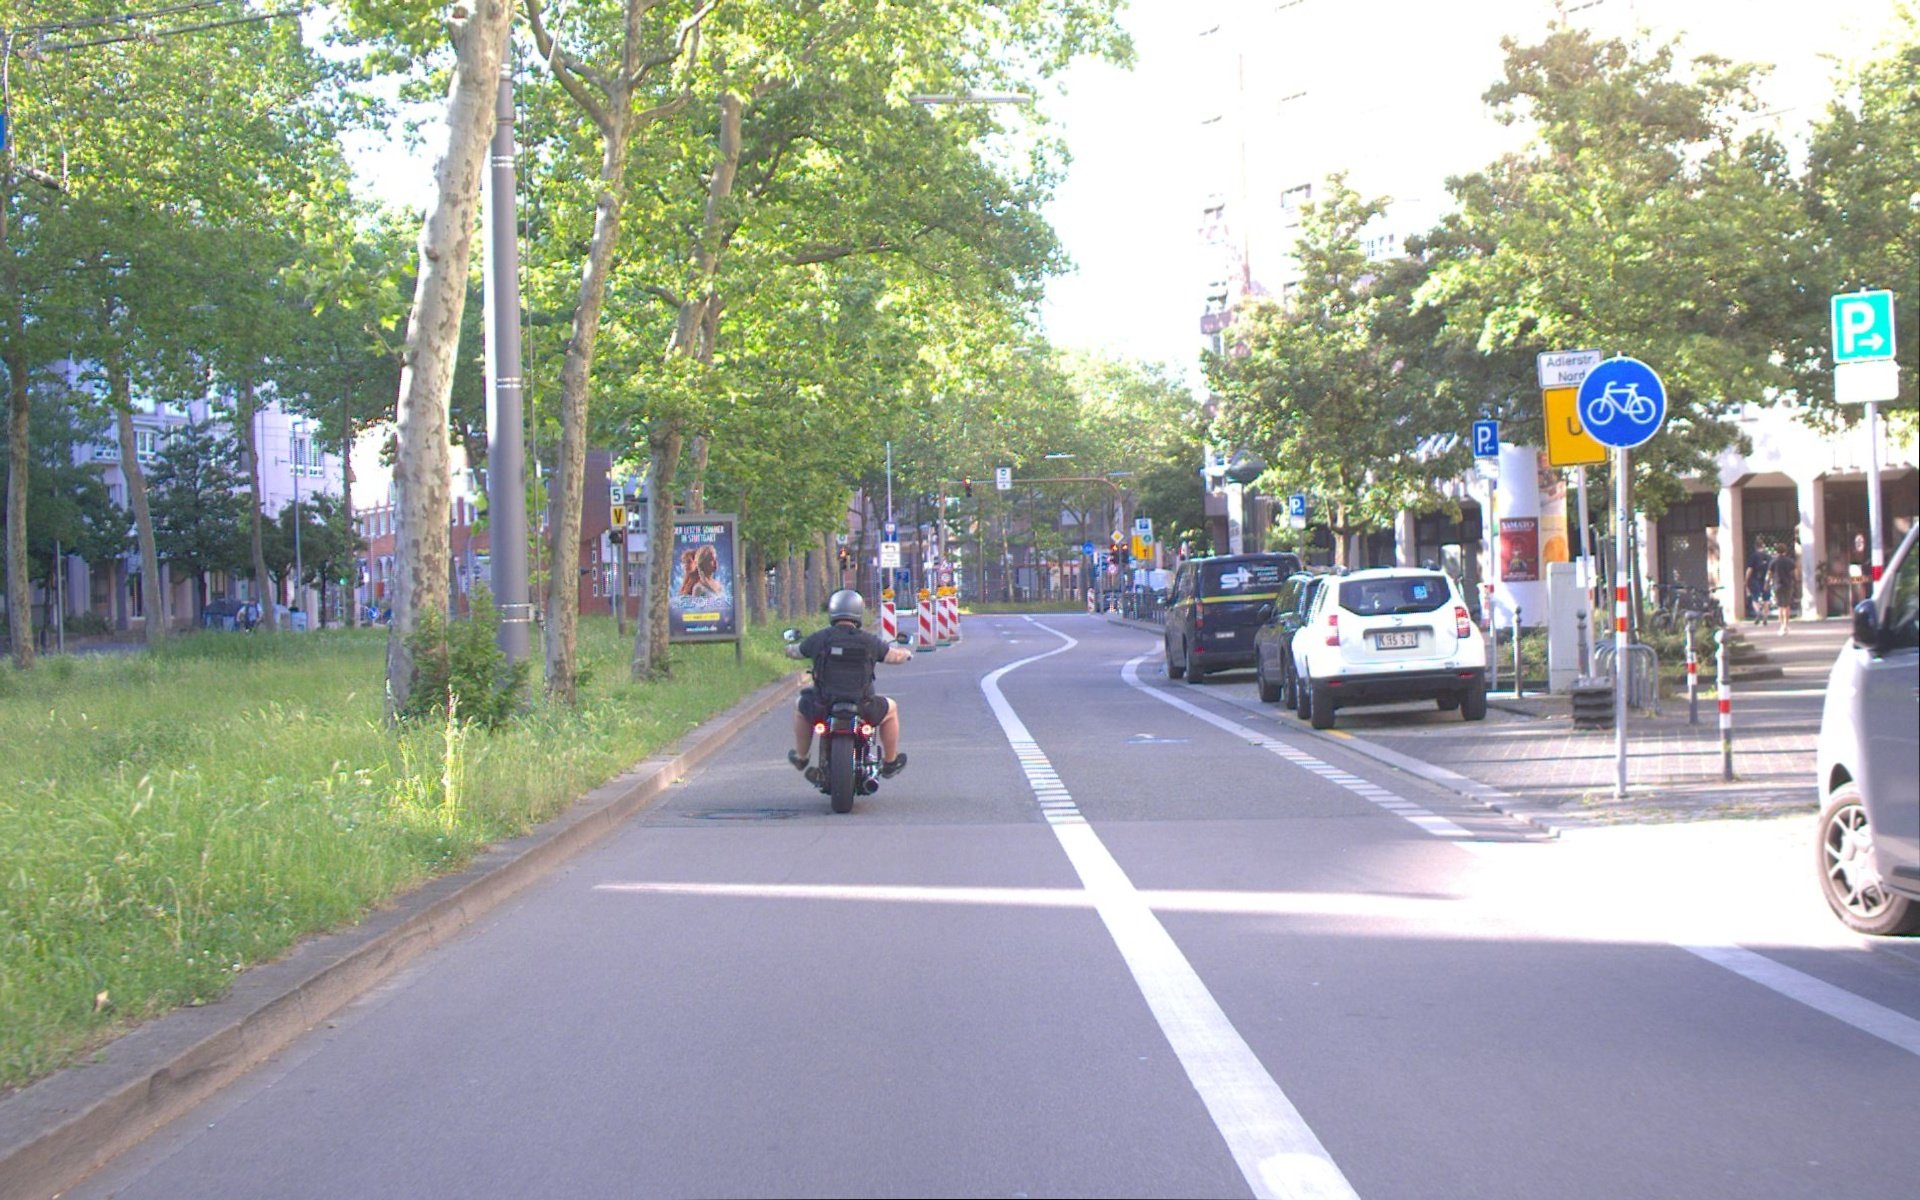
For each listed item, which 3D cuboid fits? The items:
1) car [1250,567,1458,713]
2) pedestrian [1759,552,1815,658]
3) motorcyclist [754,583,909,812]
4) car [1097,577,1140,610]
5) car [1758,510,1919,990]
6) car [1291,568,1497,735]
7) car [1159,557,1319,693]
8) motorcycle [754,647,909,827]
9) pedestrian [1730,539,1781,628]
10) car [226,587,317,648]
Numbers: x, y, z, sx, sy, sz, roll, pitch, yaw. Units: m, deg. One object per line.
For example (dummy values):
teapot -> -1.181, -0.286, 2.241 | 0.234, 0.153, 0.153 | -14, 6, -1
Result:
car -> 4.813, 0.474, 42.516 | 1.987, 1.623, 4.085 | -2, 0, -1
pedestrian -> 15.841, 0.097, 65.895 | 0.866, 2.007, 0.882 | -1, 0, 4
motorcyclist -> -0.908, 0.679, 24.675 | 1.022, 1.547, 1.286 | -2, 1, 0
car -> 8.550, -0.376, 185.213 | 1.994, 1.700, 3.999 | -1, 0, 6
car -> 4.583, 0.517, 12.876 | 1.922, 1.837, 4.924 | -4, 0, 0
car -> 4.575, 0.515, 36.729 | 1.859, 1.632, 3.867 | -2, 0, 3
car -> 4.356, 0.366, 54.235 | 2.030, 1.970, 4.415 | -2, 0, -1
motorcycle -> -0.897, 0.954, 24.682 | 1.005, 1.121, 2.323 | -2, 1, 0
pedestrian -> 17.066, -0.353, 73.778 | 0.867, 1.877, 1.058 | -1, 0, 4
car -> -19.665, 0.477, 98.359 | 1.900, 1.681, 4.000 | -1, 0, -2
